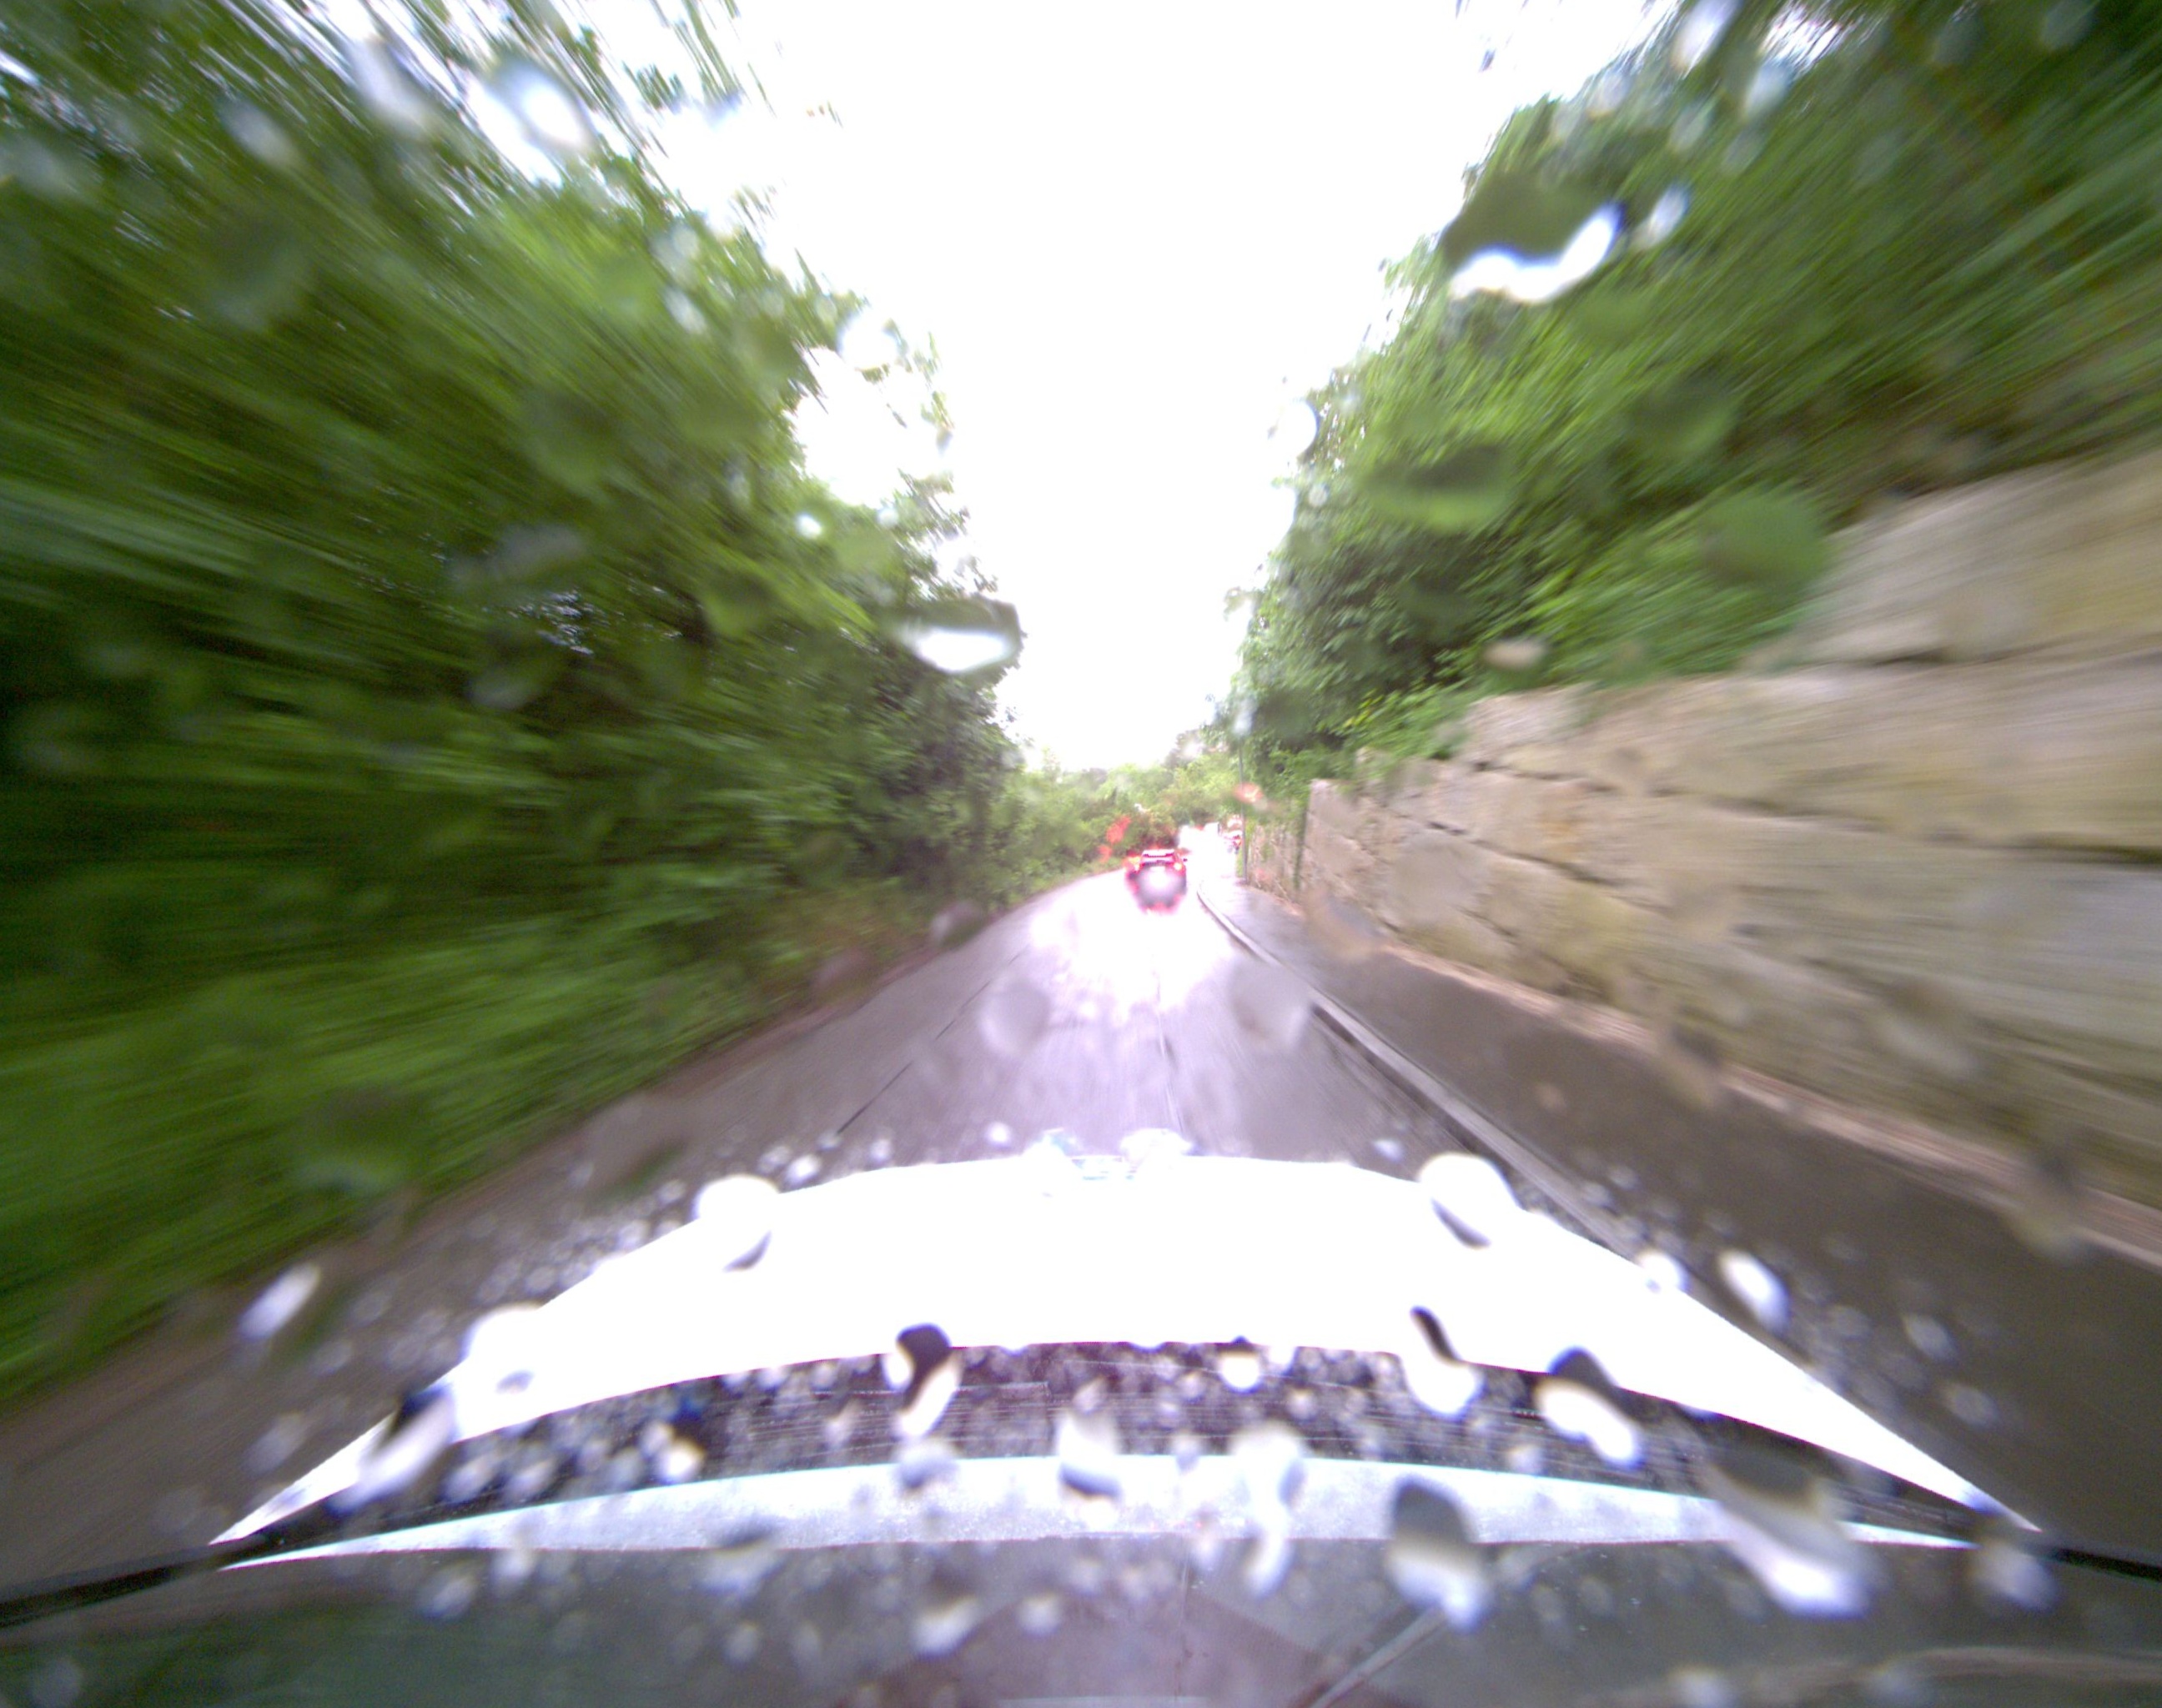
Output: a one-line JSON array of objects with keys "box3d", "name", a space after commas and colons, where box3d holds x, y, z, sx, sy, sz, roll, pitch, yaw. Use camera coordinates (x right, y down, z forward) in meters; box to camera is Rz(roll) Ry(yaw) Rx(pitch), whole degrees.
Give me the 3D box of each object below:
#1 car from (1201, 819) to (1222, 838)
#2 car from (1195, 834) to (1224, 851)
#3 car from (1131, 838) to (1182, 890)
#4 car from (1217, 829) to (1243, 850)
[{"box3d": [14.295, -2.805, 89.004, 1.676, 1.782, 4.253, -2, 5, 17], "name": "car"}, {"box3d": [11.947, -1.042, 75.716, 1.925, 1.522, 4.601, -1, 1, 18], "name": "car"}, {"box3d": [2.852, 0.312, 30.068, 1.690, 1.449, 4.010, -2, 4, 7], "name": "car"}, {"box3d": [12.885, -1.253, 70.341, 1.849, 1.743, 4.017, -1, 1, 15], "name": "car"}]
